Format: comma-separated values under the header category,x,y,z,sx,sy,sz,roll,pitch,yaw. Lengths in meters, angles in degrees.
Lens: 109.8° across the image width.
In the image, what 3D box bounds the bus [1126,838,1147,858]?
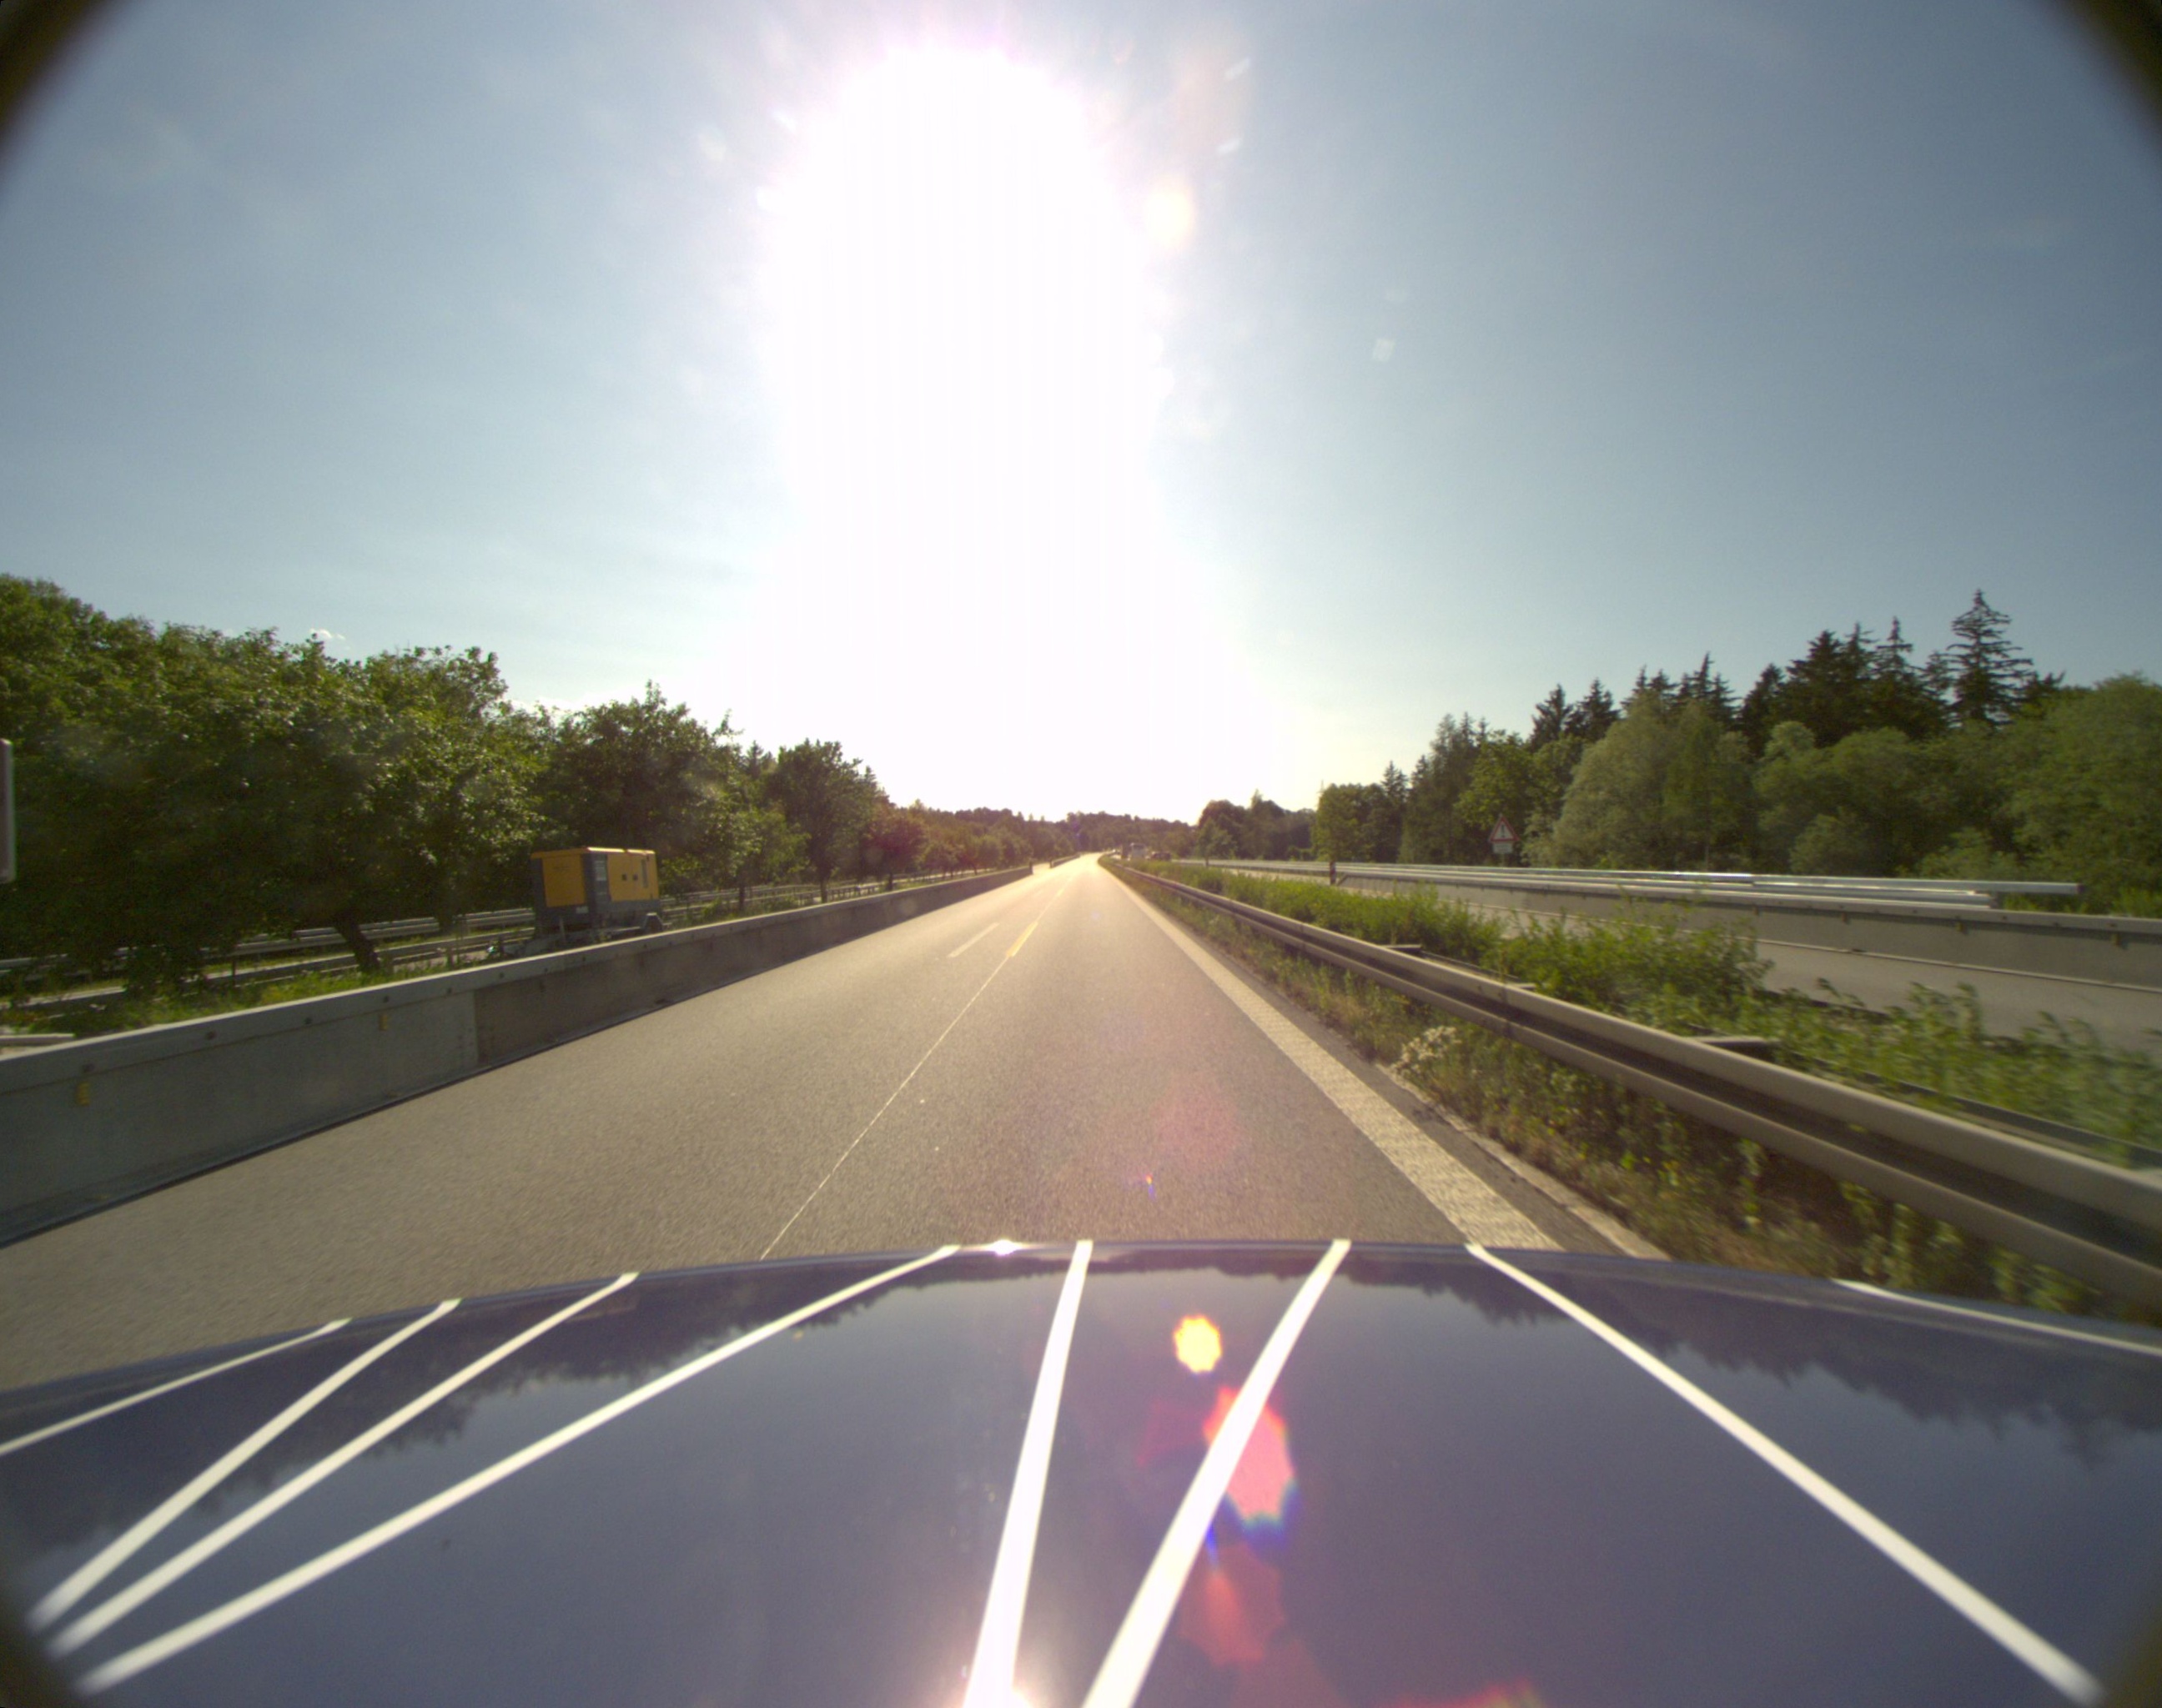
category,x,y,z,sx,sy,sz,roll,pitch,yaw
bus,10.492,-1.114,144.376,2.889,3.649,12.916,-2,0,0

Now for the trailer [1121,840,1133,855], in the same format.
category,x,y,z,sx,sy,sz,roll,pitch,yaw
trailer,12.919,-1.831,214.692,2.748,4.047,13.995,1,1,1

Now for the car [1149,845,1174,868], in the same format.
category,x,y,z,sx,sy,sz,roll,pitch,yaw
car,7.685,0.213,72.661,1.878,1.962,5.577,-3,0,2

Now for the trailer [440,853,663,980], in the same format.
category,x,y,z,sx,sy,sz,roll,pitch,yaw
trailer,-8.965,0.919,13.288,1.128,1.863,3.999,-1,0,-1
